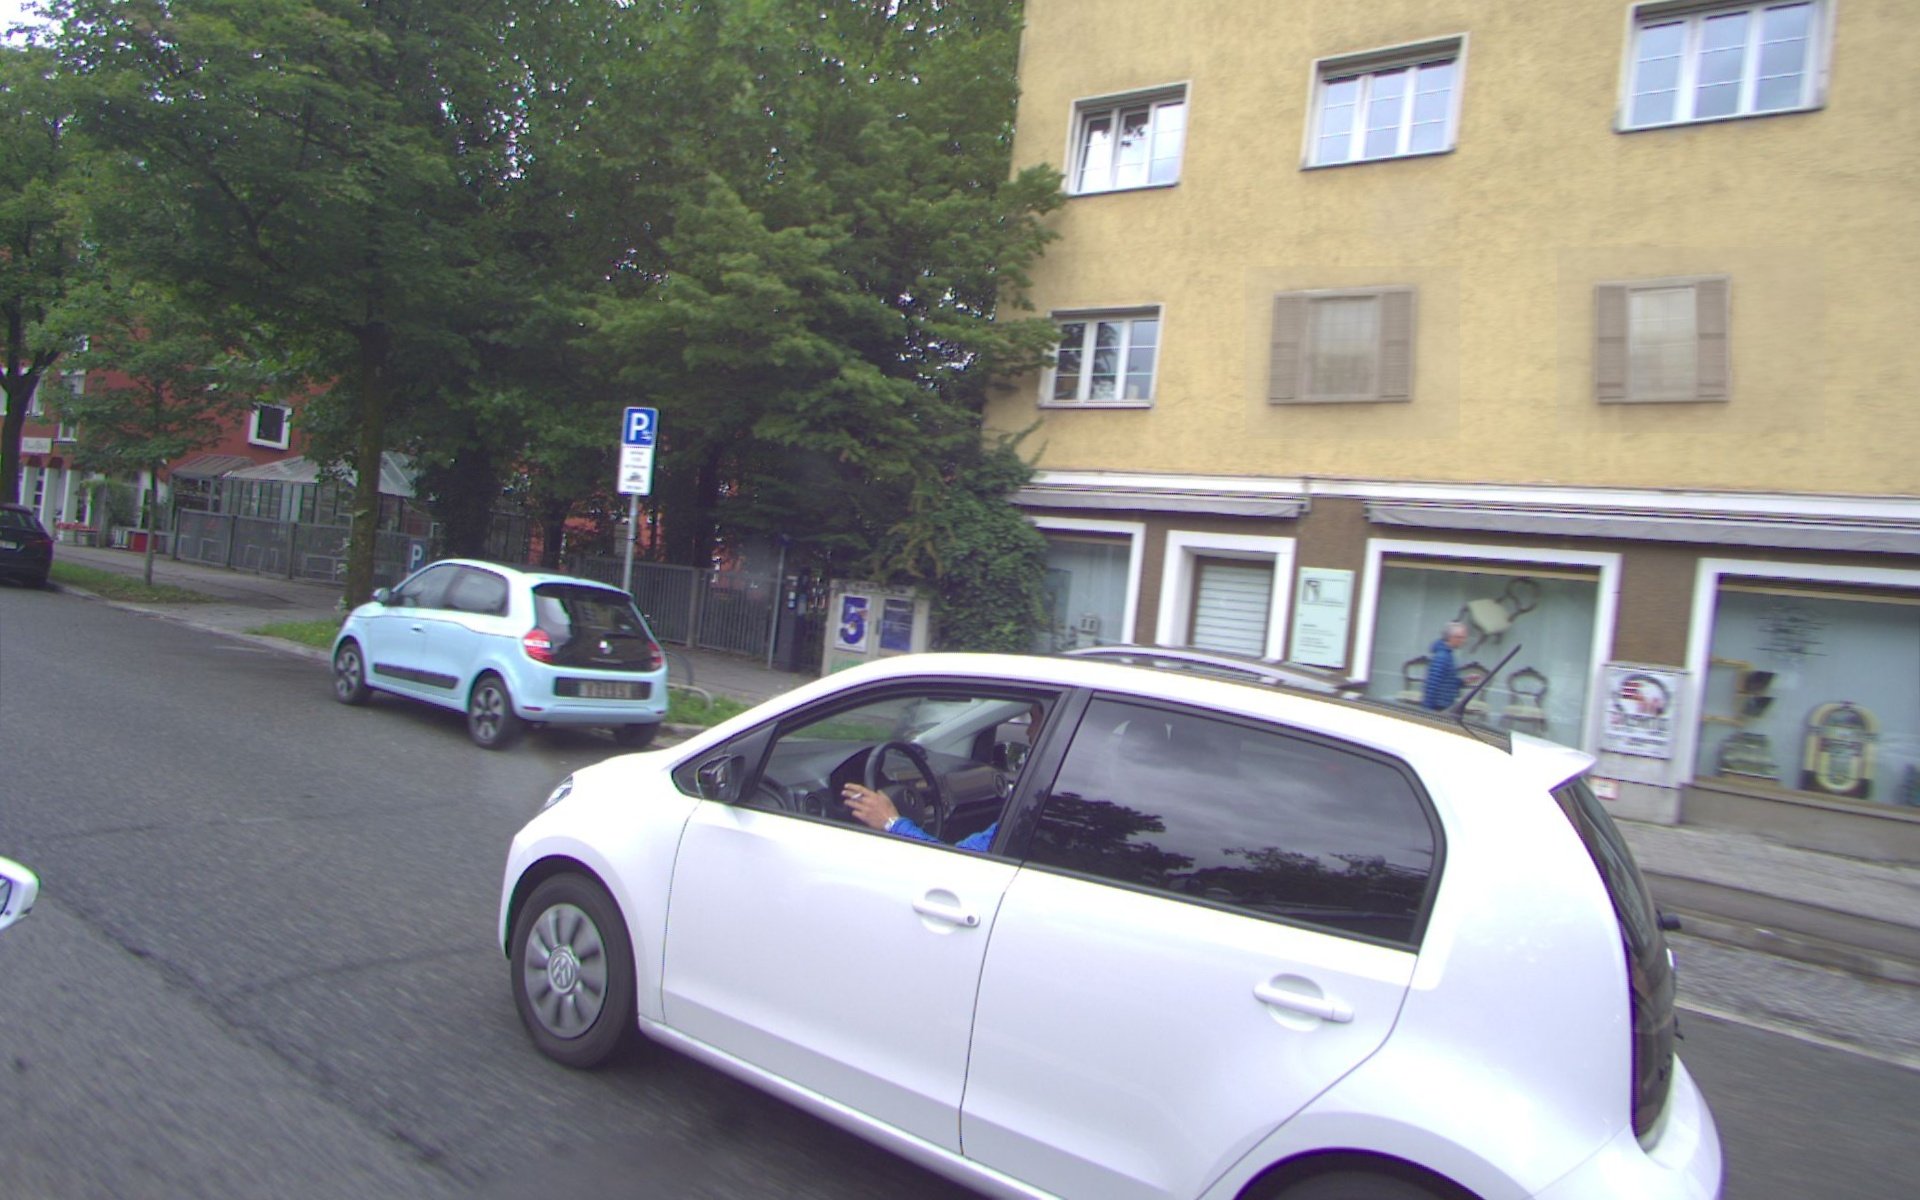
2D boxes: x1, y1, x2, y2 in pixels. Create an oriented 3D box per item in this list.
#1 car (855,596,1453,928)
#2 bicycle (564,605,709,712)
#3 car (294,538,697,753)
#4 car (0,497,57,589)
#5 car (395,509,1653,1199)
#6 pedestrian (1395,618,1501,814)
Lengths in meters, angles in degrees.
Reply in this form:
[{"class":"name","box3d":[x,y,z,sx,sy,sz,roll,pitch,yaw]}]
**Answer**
[{"class":"car","box3d":[1.445,1.047,8.114,4.237,1.647,1.816,7,1,33]},{"class":"bicycle","box3d":[-3.727,0.656,11.516,1.769,0.992,0.448,7,0,32]},{"class":"car","box3d":[-4.603,0.374,9.783,3.936,1.469,1.655,7,-1,34]},{"class":"car","box3d":[-18.397,-1.223,18.243,4.629,1.470,1.655,7,1,31]},{"class":"car","box3d":[0.041,0.695,3.274,3.377,1.507,1.690,7,-2,31]},{"class":"pedestrian","box3d":[5.102,1.175,10.507,0.763,1.880,0.793,7,2,29]}]
